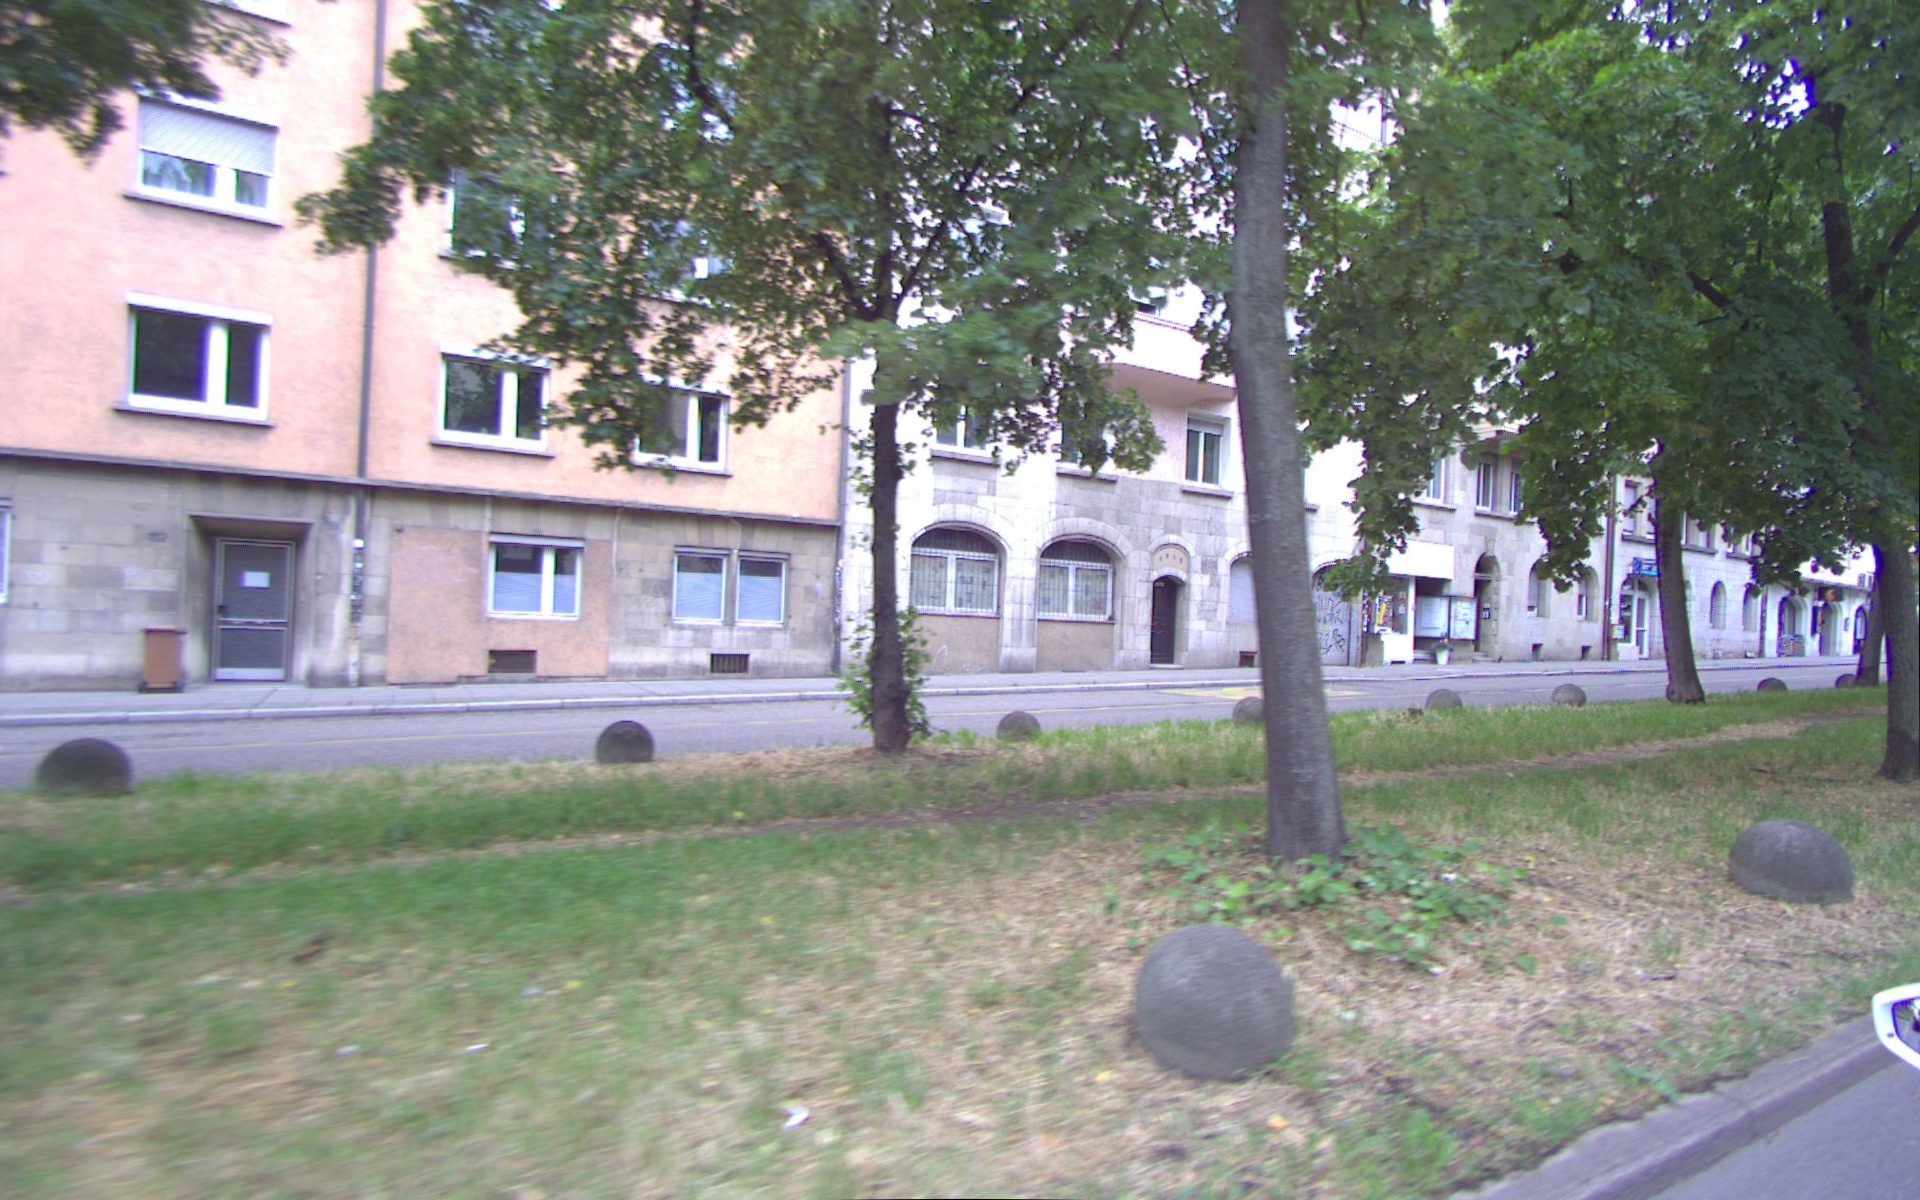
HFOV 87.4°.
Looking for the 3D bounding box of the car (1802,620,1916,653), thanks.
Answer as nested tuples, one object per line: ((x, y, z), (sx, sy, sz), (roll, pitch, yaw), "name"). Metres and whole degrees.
((49.350, 1.980, 55.216), (2.025, 1.439, 4.263), (1, 3, -32), "car")

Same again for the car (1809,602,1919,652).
((55.558, 1.595, 61.511), (2.161, 2.773, 5.124), (2, 1, -42), "car")

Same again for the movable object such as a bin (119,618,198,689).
((-11.126, 0.737, 13.956), (0.769, 0.939, 0.510), (1, 1, -29), "movable object such as a bin")
